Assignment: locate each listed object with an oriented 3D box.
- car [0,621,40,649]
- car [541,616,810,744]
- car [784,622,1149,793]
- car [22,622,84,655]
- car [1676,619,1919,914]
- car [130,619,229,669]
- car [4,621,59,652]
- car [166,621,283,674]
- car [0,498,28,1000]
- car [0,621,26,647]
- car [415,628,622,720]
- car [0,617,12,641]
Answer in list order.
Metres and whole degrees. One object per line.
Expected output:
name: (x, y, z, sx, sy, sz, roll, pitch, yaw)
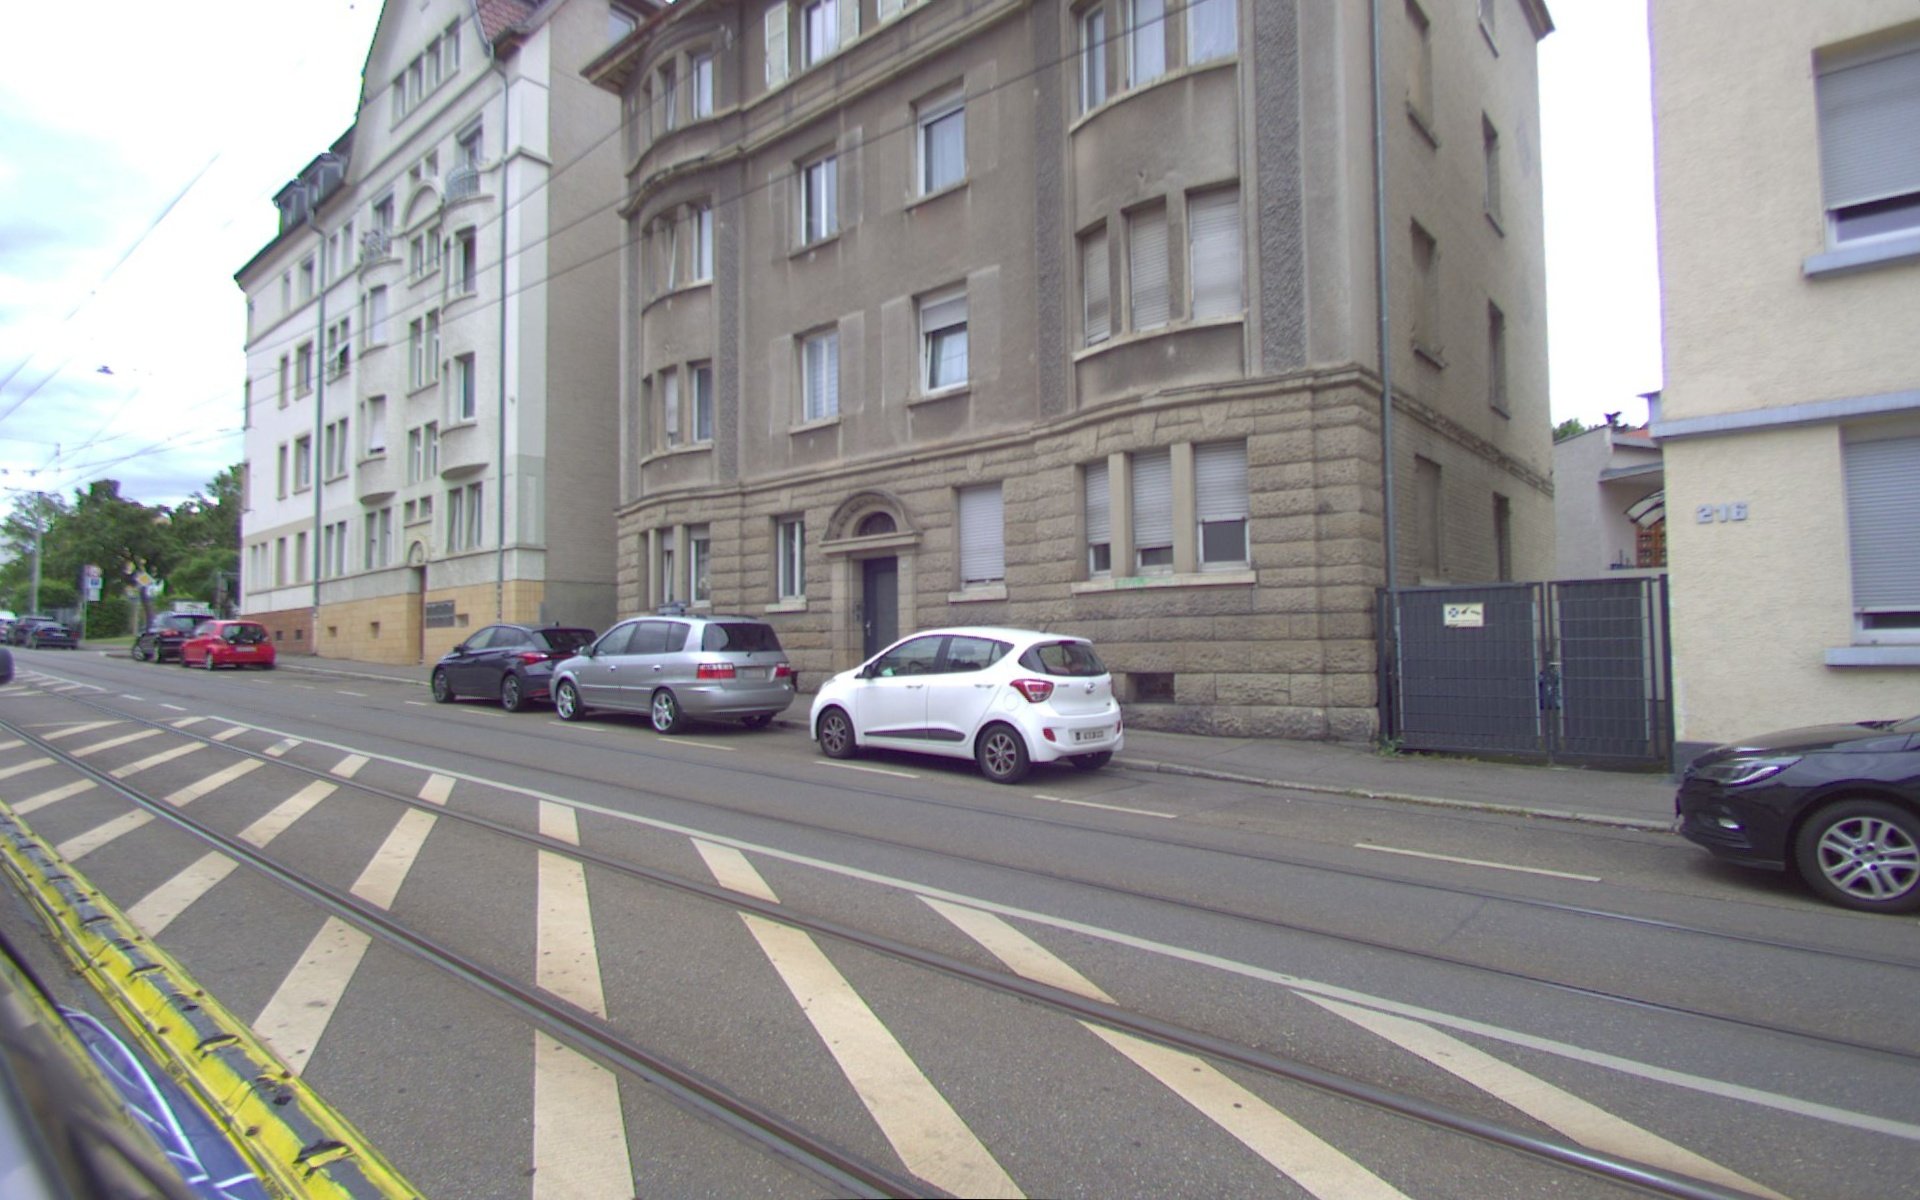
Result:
car: (-54.943, 2.031, 58.702, 3.949, 1.537, 1.721, -1, -4, 40)
car: (-4.208, 1.035, 14.648, 4.140, 1.579, 1.721, -1, -2, 40)
car: (-0.034, 1.022, 11.059, 3.799, 1.522, 1.720, -1, -2, 41)
car: (-45.245, 1.905, 50.467, 3.949, 1.537, 1.721, -1, -4, 40)
car: (6.493, 0.908, 5.138, 4.524, 1.522, 1.766, -1, -4, 41)
car: (-25.910, 1.430, 33.557, 3.949, 1.537, 1.721, -1, -4, 40)
car: (-50.191, 1.971, 54.671, 3.950, 1.537, 1.720, -1, -4, 41)
car: (-22.218, 1.416, 30.542, 3.945, 1.470, 1.722, 0, -3, 37)
car: (-5.857, 0.563, 4.632, 4.674, 1.852, 1.863, -1, -1, 41)
car: (-58.696, 2.054, 61.927, 3.949, 1.537, 1.721, -1, -4, 40)
car: (-7.819, 1.204, 17.786, 4.042, 1.392, 1.721, -1, -2, 40)
car: (-63.282, 1.848, 65.928, 3.949, 1.537, 1.721, -1, -4, 40)
